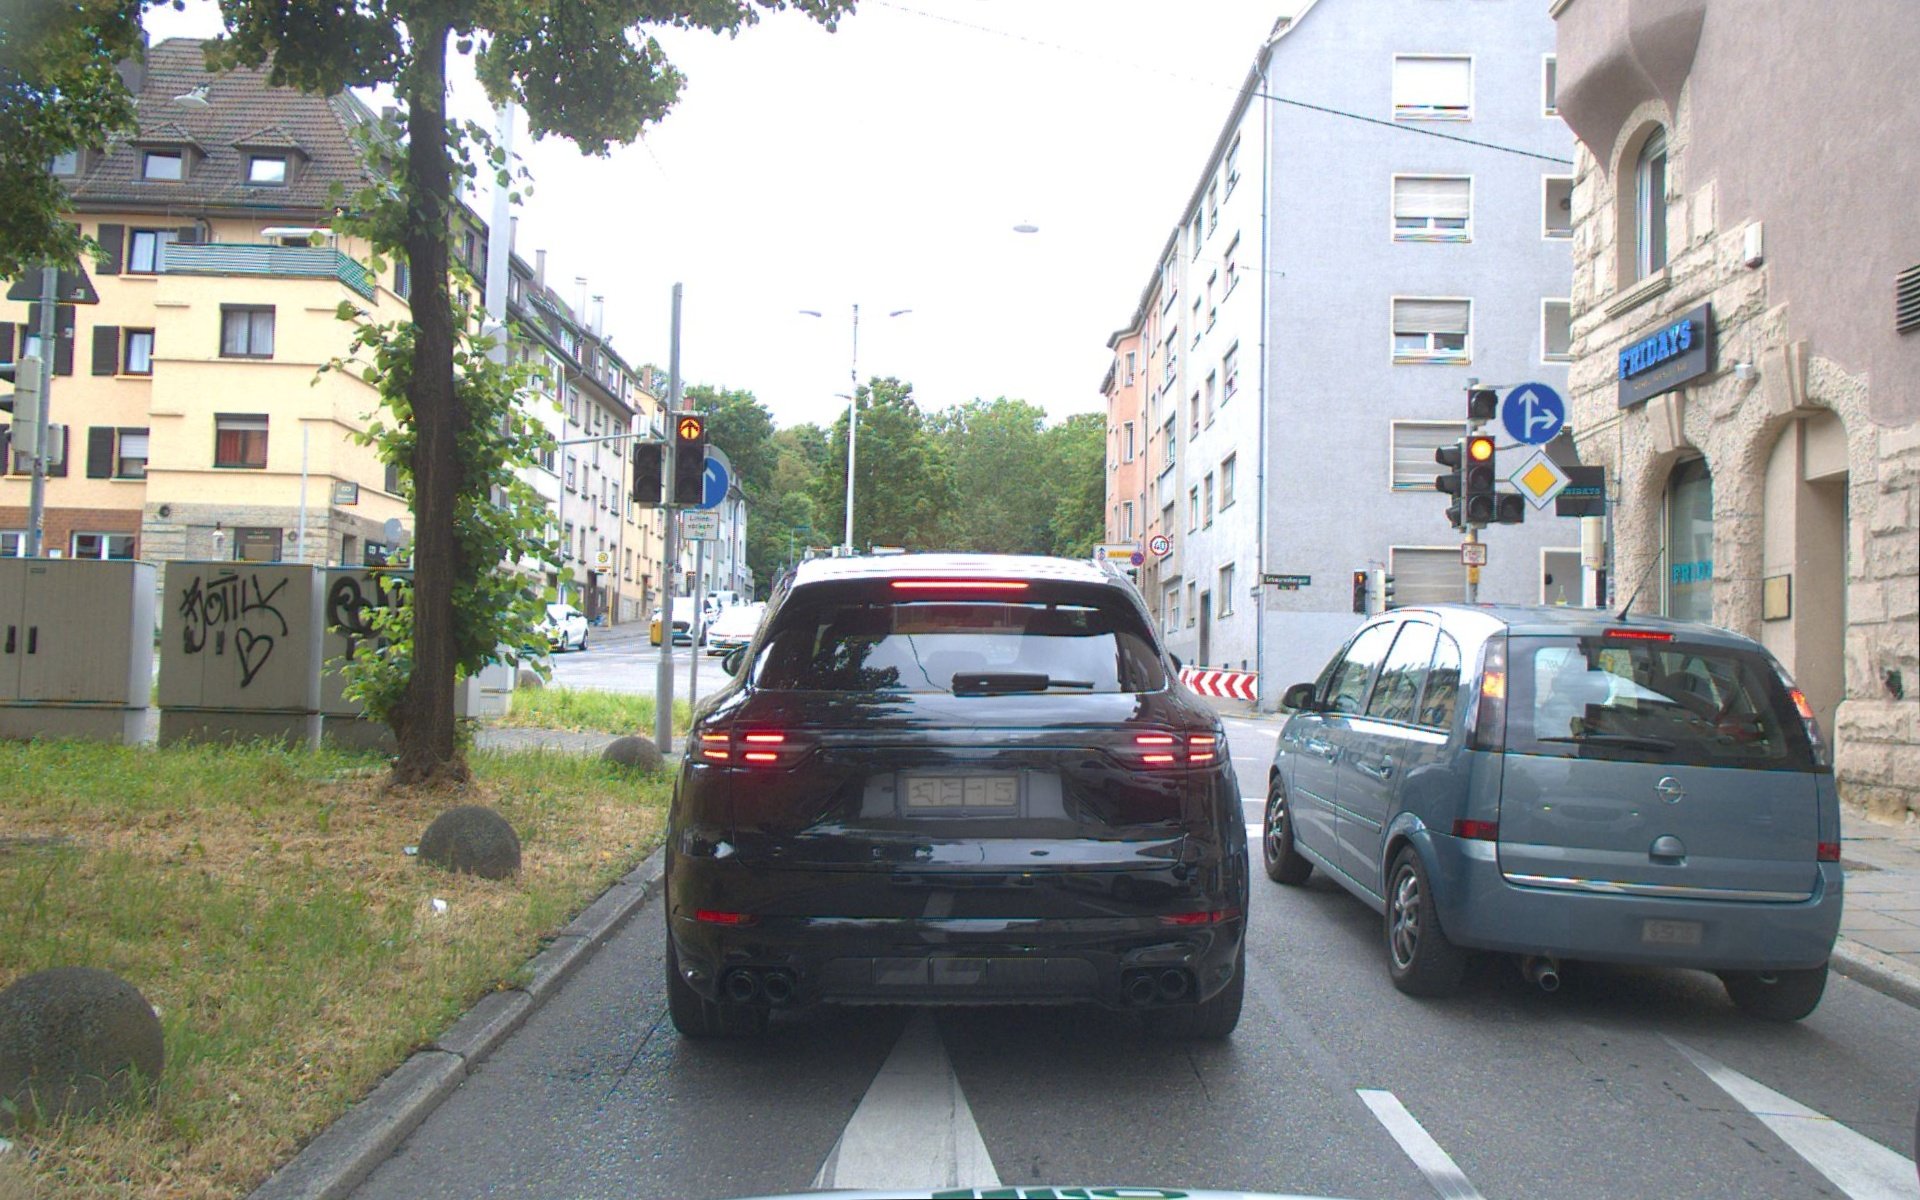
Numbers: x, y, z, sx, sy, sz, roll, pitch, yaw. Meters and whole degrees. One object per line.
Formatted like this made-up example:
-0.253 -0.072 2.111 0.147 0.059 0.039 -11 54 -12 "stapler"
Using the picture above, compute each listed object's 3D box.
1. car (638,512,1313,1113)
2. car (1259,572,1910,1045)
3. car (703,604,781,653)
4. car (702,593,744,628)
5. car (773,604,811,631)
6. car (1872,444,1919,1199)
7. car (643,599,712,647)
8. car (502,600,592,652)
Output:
0.022 0.615 6.713 1.916 1.704 3.999 0 0 -1 "car"
2.628 0.774 7.904 1.596 1.625 3.668 4 0 -1 "car"
-6.627 0.856 50.637 1.824 1.412 4.094 1 0 0 "car"
-14.961 0.655 104.440 1.975 2.081 4.666 1 0 0 "car"
-9.575 1.005 94.468 1.585 1.506 3.824 1 -1 3 "car"
2.922 0.654 1.025 1.936 1.806 4.674 4 0 -2 "car"
-10.094 0.791 58.810 1.941 1.638 4.538 1 0 -16 "car"
-12.751 0.776 51.320 1.806 1.512 3.897 1 0 0 "car"
